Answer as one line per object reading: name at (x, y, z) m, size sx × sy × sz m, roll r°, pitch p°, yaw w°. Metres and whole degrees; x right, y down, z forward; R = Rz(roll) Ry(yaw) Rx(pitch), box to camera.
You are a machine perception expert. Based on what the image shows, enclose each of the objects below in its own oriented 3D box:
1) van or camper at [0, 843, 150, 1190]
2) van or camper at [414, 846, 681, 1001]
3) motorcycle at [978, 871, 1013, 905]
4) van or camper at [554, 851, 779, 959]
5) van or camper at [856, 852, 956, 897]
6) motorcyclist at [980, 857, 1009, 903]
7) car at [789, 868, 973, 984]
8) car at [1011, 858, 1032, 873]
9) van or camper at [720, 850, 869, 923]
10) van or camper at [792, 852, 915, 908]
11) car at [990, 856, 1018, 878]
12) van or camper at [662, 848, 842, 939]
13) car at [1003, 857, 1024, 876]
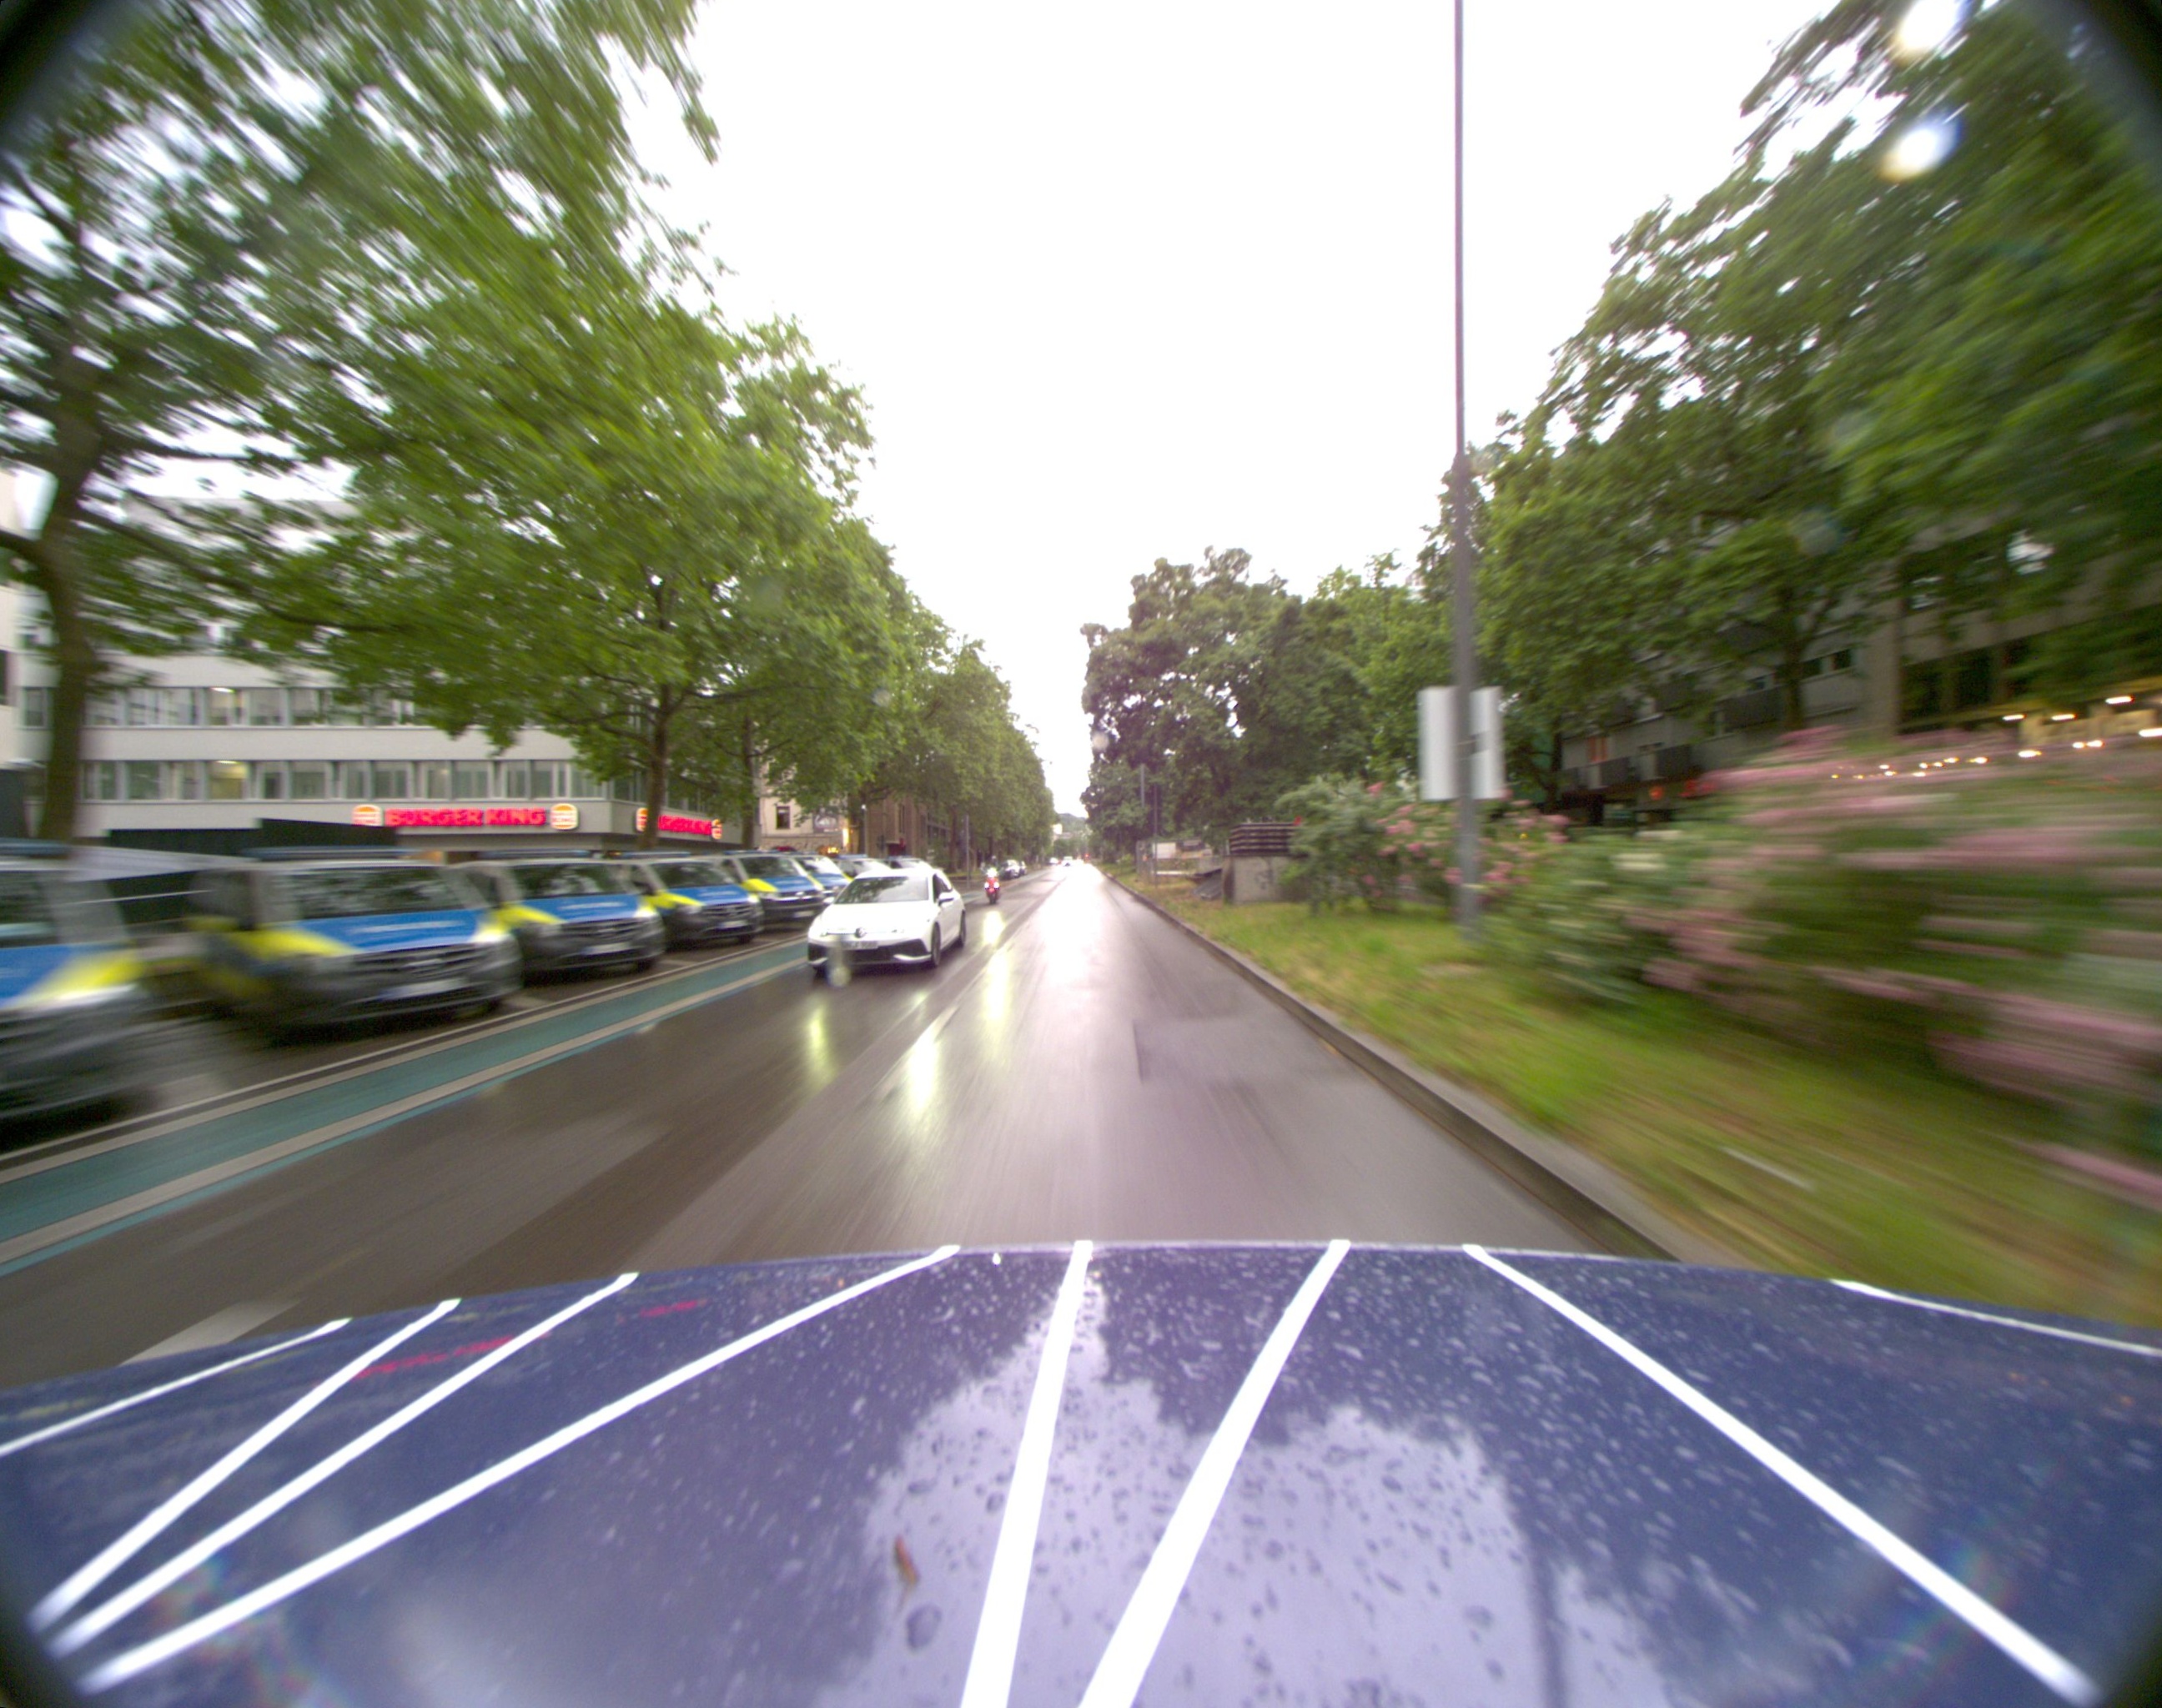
van or camper at (-8.631, 1.036, 5.455) m, size 5.195 × 1.981 × 2.004 m, roll -2°, pitch 1°, yaw 35°
van or camper at (-8.760, 0.944, 12.291) m, size 5.093 × 2.013 × 2.110 m, roll -1°, pitch 0°, yaw 38°
motorcycle at (-3.130, 1.205, 27.742) m, size 0.869 × 1.136 × 2.019 m, roll -2°, pitch 0°, yaw -17°
van or camper at (-8.903, 0.974, 16.181) m, size 5.010 × 1.984 × 2.004 m, roll -1°, pitch 1°, yaw 33°
van or camper at (-8.508, 0.987, 36.747) m, size 4.934 × 1.980 × 2.006 m, roll -2°, pitch 1°, yaw 38°
motorcyclist at (-3.154, 0.949, 27.786) m, size 0.850 × 1.635 × 0.870 m, roll -2°, pitch 0°, yaw -18°
car at (-2.962, 0.996, 12.321) m, size 1.866 × 1.436 × 4.508 m, roll -1°, pitch 0°, yaw -1°
car at (-6.101, 1.183, 78.162) m, size 1.747 × 1.424 × 4.586 m, roll -2°, pitch 0°, yaw 1°
van or camper at (-8.784, 0.935, 23.118) m, size 4.841 × 1.986 × 1.871 m, roll -1°, pitch 0°, yaw 37°
van or camper at (-9.110, 1.029, 30.199) m, size 5.074 × 2.007 × 2.001 m, roll -3°, pitch 0°, yaw 37°
car at (-6.242, 1.031, 62.054) m, size 1.797 × 1.593 × 4.423 m, roll -2°, pitch 0°, yaw -1°
van or camper at (-8.390, 0.922, 19.205) m, size 4.781 × 1.999 × 2.004 m, roll -1°, pitch 1°, yaw 37°
car at (-5.929, 1.084, 67.187) m, size 1.756 × 1.576 × 4.409 m, roll -2°, pitch 0°, yaw -4°
